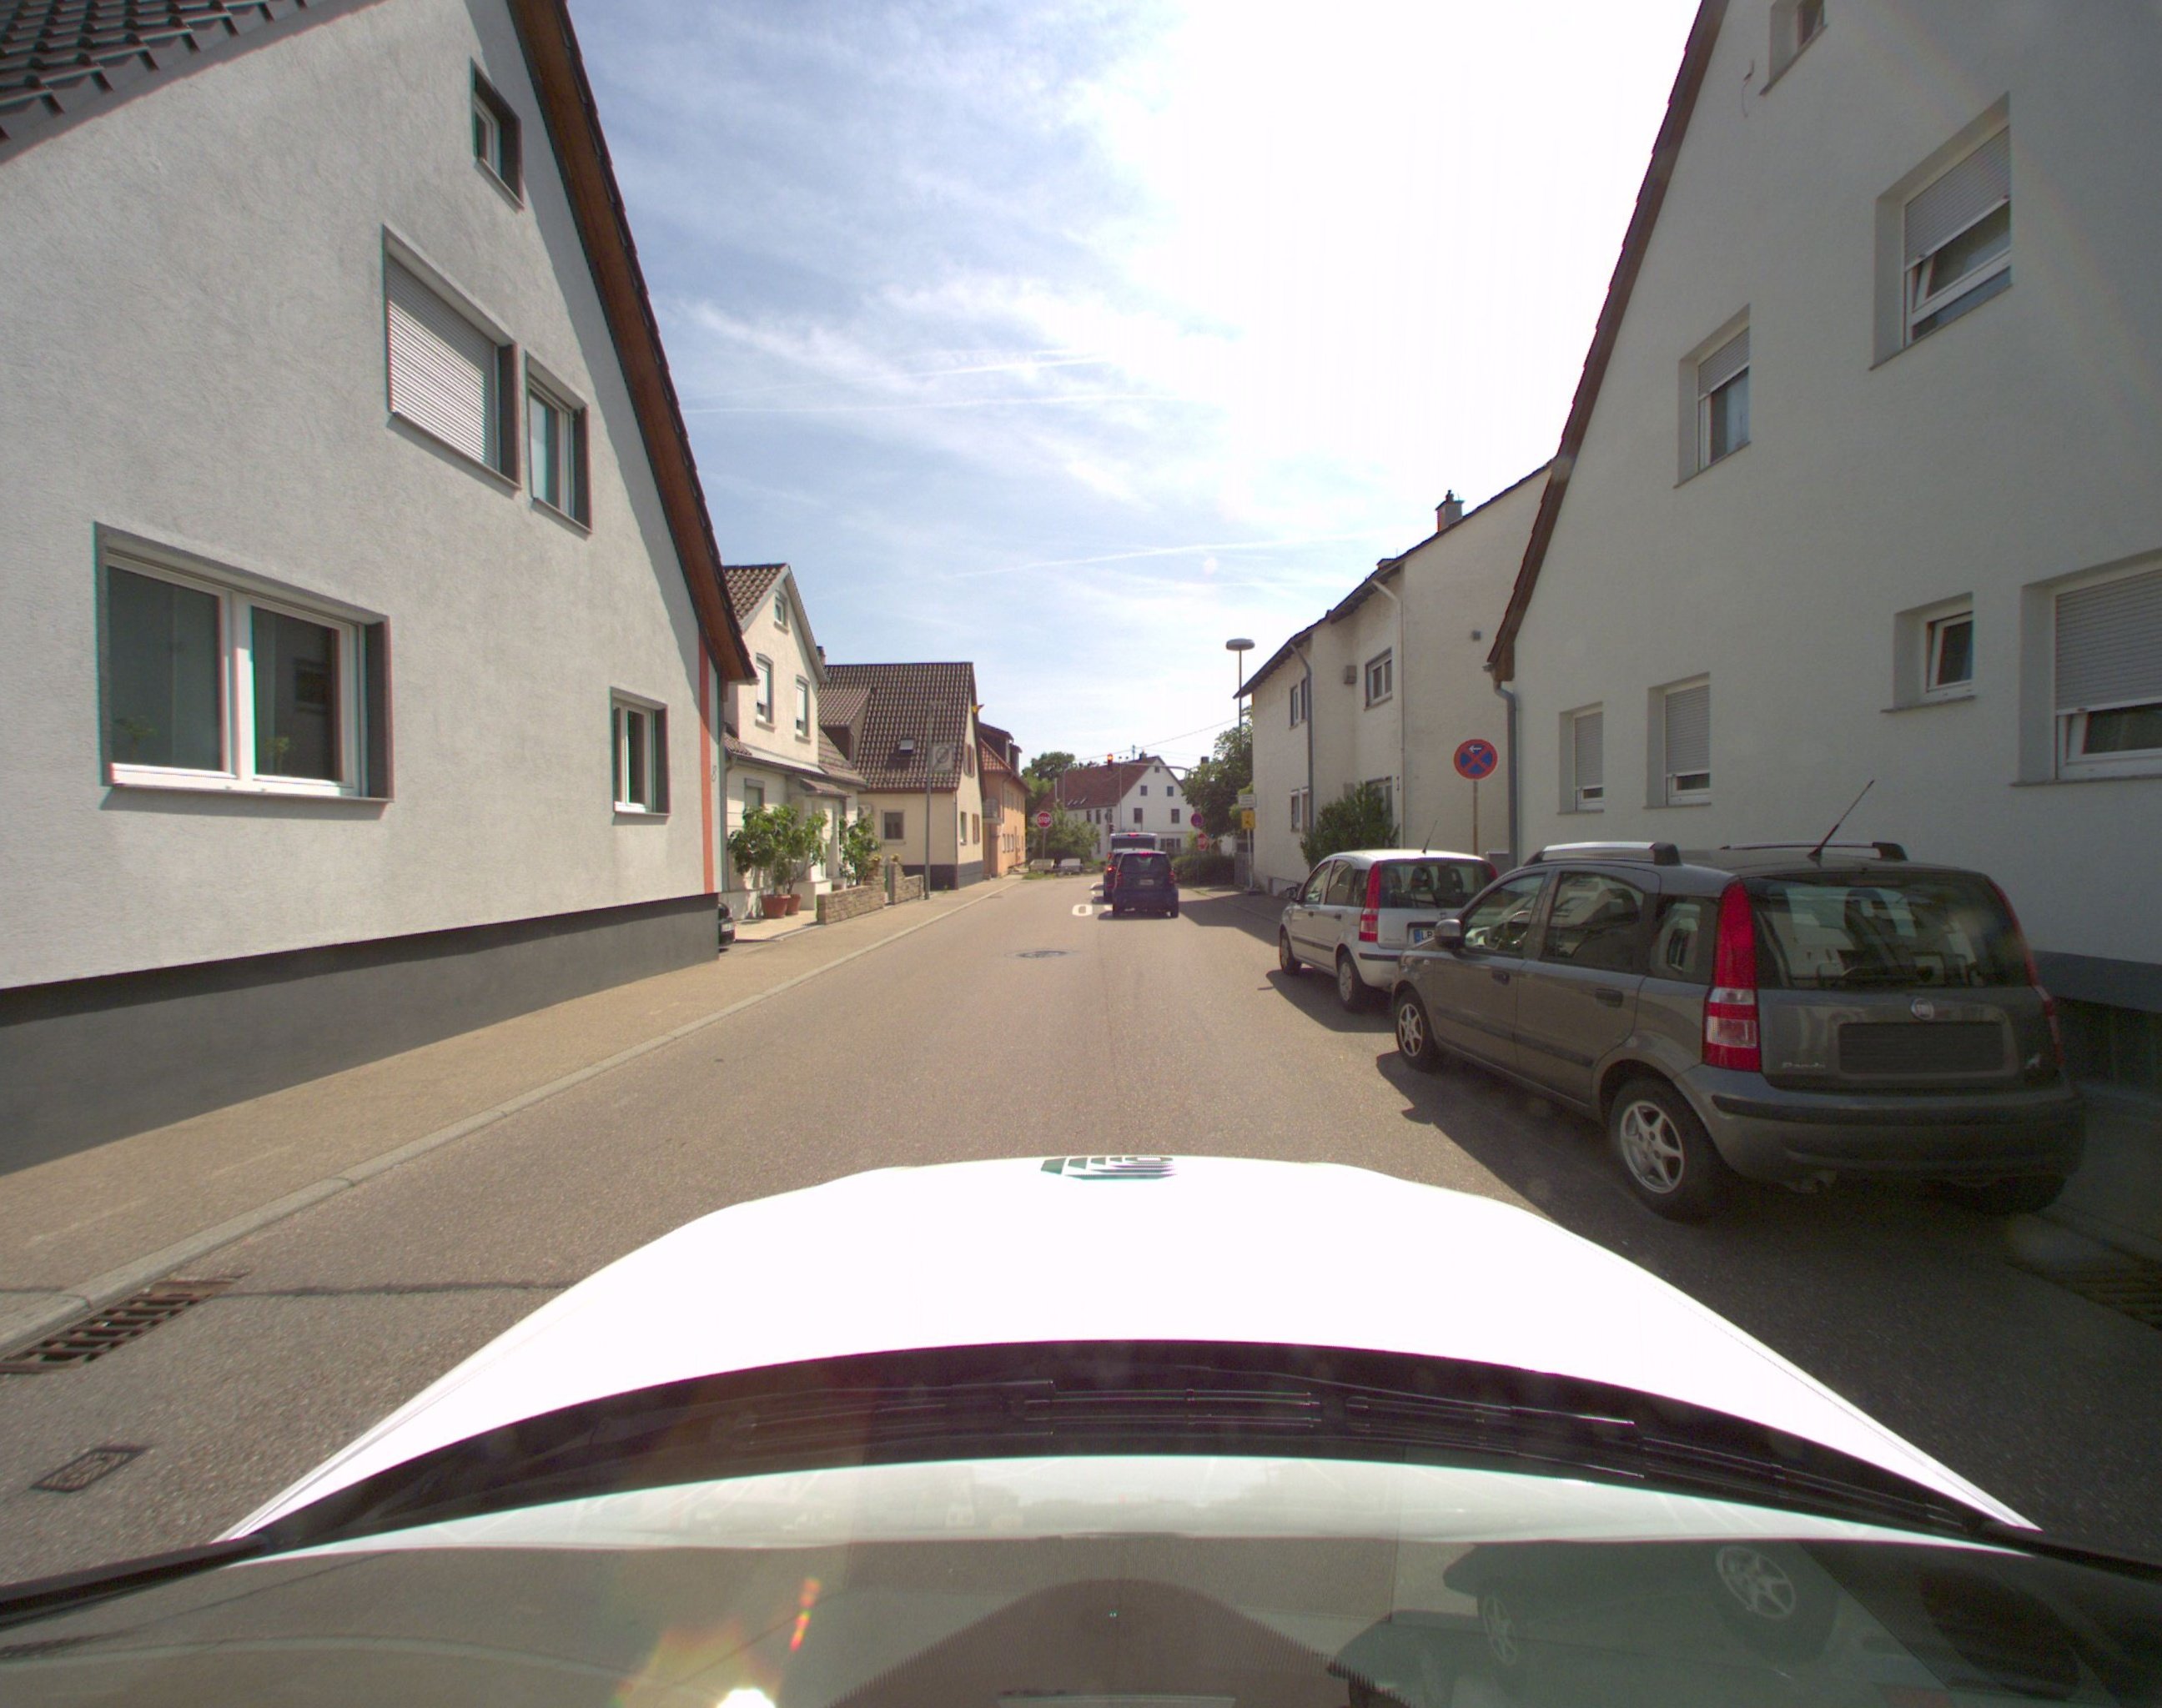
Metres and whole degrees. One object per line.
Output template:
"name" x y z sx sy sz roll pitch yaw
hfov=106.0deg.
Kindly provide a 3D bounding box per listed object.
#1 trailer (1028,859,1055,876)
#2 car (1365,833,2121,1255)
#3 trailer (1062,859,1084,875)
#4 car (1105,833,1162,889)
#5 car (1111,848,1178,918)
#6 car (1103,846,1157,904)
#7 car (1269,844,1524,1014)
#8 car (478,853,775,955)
"trailer" -2.402 0.817 49.684 1.496 0.927 1.013 2 0 2
"car" 3.069 0.690 4.739 1.563 1.545 3.447 0 0 -2
"trailer" -0.490 0.786 49.727 1.306 0.970 0.934 -1 0 2
"car" 2.263 0.253 33.853 2.118 2.158 4.745 -1 0 7
"car" 1.544 0.642 20.029 1.509 1.567 3.188 0 0 4
"car" 1.521 0.582 24.774 1.509 1.624 3.188 -1 0 4
"car" 3.211 0.667 8.950 1.493 1.513 3.361 0 0 0
"car" -7.185 0.755 13.120 3.821 1.481 1.703 -1 0 3
